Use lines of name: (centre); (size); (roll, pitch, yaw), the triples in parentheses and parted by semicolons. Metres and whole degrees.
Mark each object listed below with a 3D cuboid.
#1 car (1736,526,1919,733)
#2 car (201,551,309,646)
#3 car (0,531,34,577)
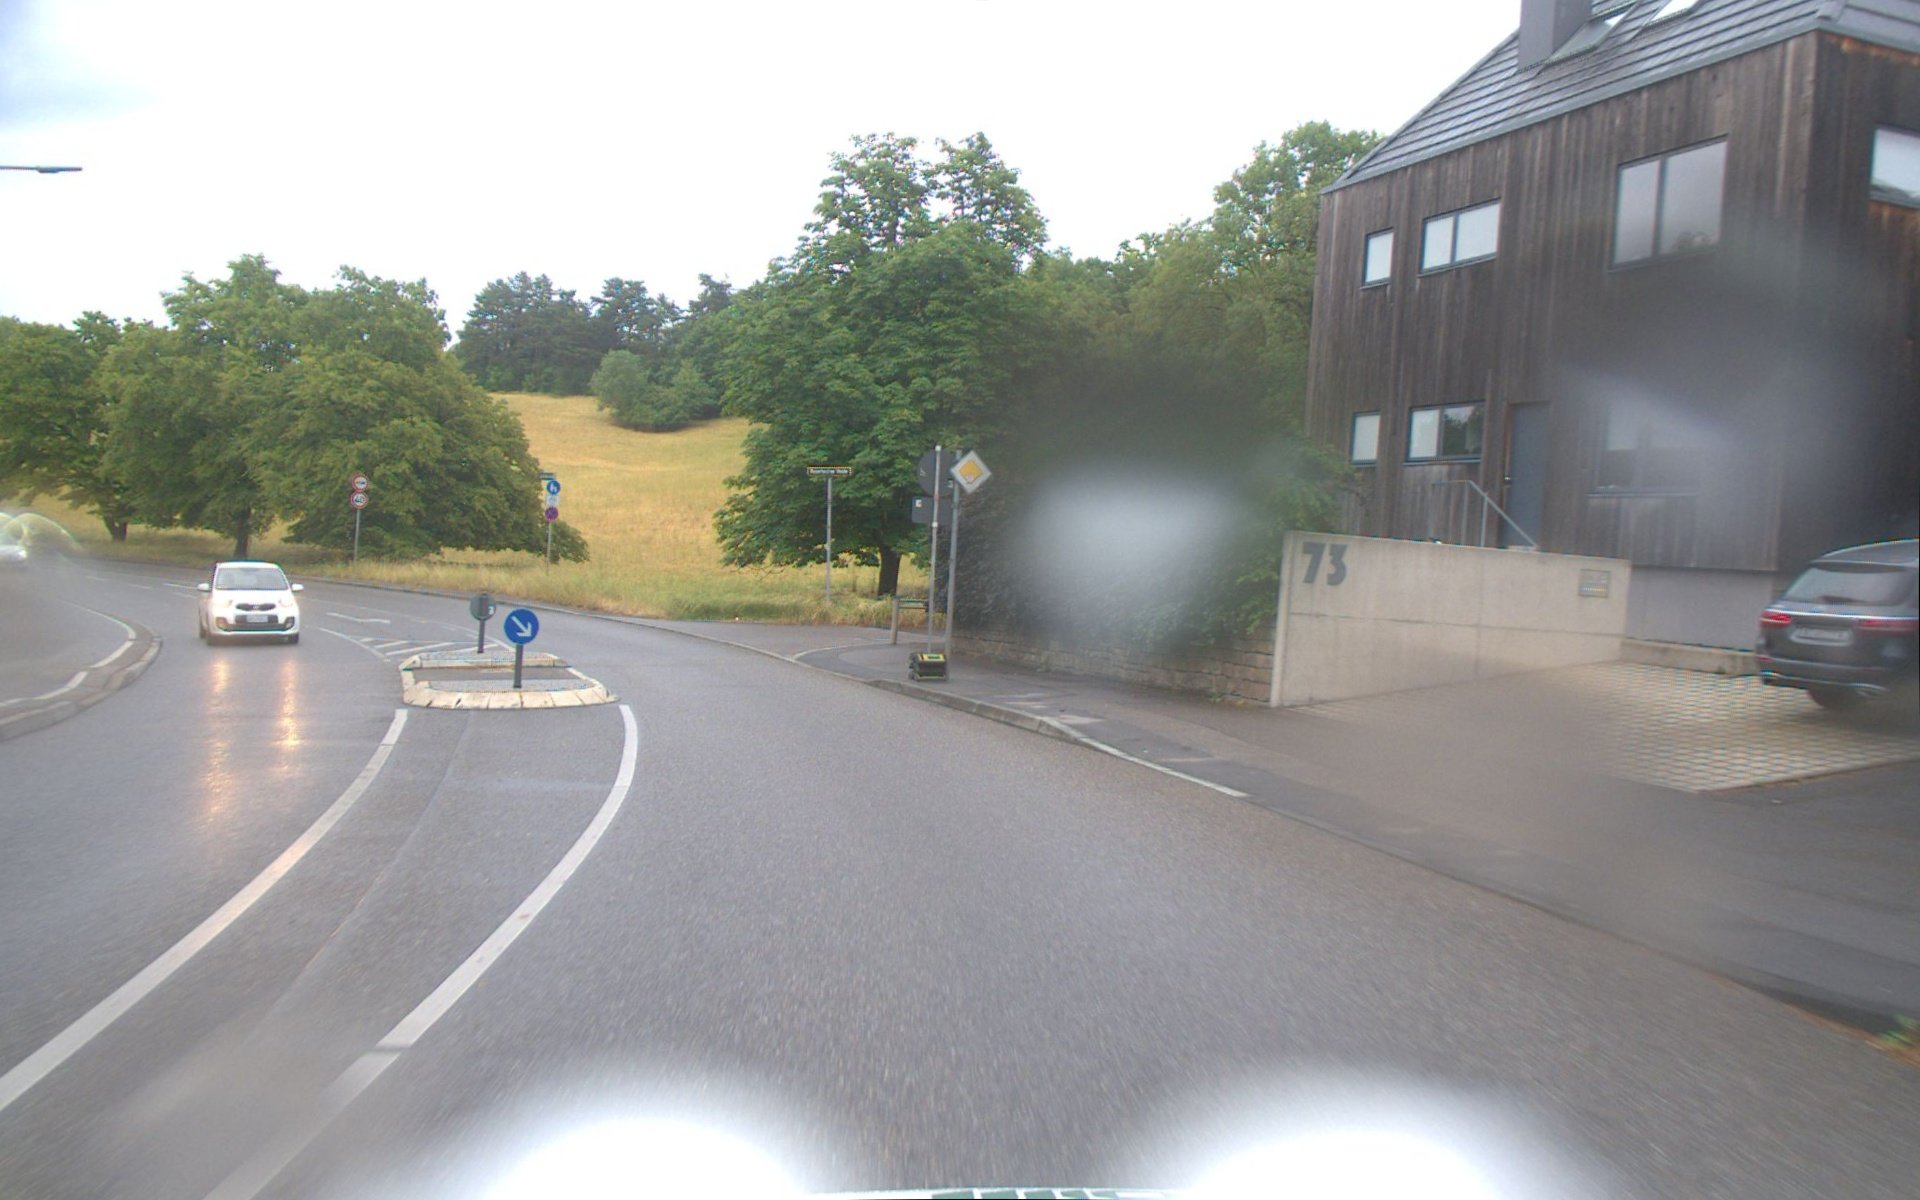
car: (9.306, 0.120, 14.534); (4.487, 1.556, 1.801); (-3, 3, -17)
car: (-13.637, -0.085, 31.916); (1.770, 1.511, 3.971); (-2, 5, -25)
car: (-36.820, -1.785, 63.011); (1.806, 1.623, 3.938); (-1, 3, -43)
